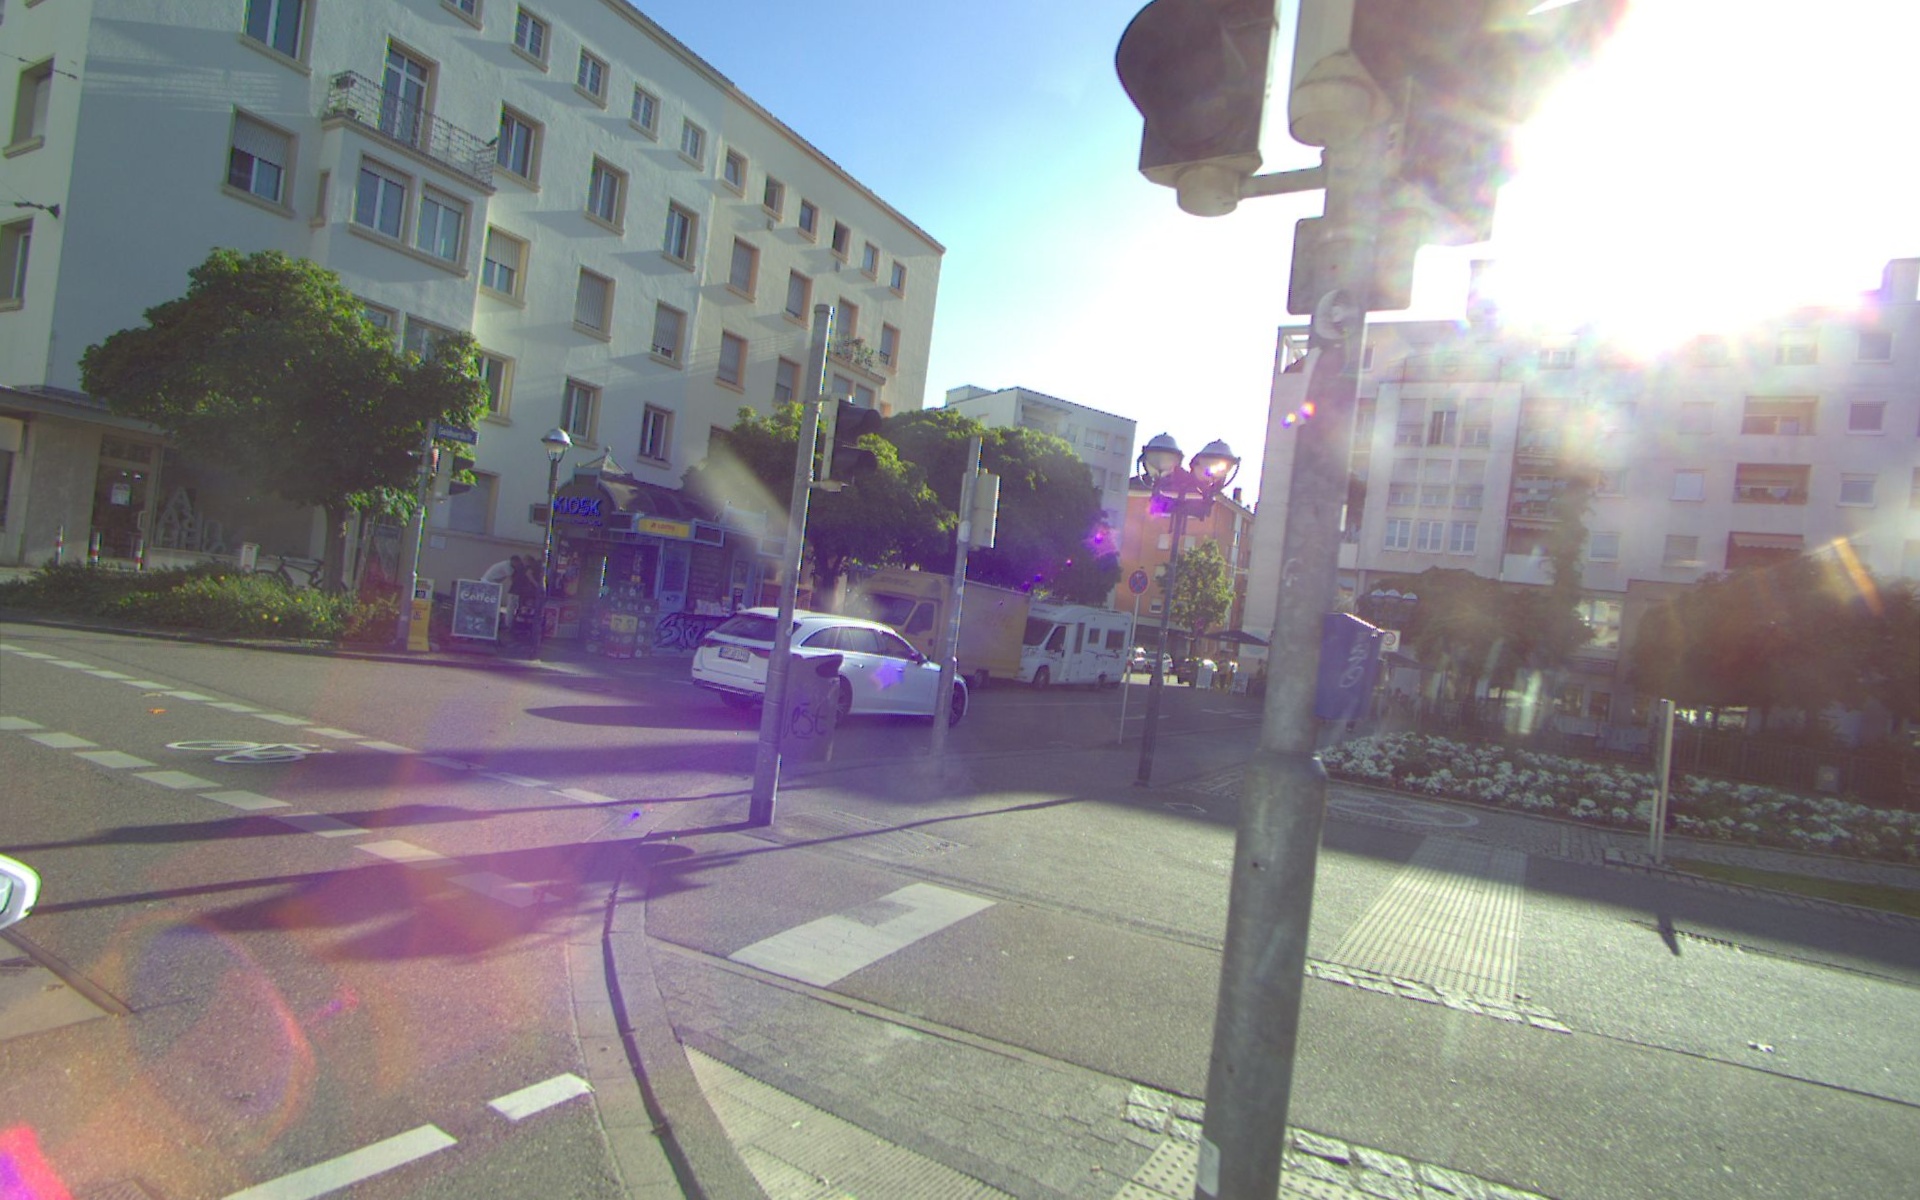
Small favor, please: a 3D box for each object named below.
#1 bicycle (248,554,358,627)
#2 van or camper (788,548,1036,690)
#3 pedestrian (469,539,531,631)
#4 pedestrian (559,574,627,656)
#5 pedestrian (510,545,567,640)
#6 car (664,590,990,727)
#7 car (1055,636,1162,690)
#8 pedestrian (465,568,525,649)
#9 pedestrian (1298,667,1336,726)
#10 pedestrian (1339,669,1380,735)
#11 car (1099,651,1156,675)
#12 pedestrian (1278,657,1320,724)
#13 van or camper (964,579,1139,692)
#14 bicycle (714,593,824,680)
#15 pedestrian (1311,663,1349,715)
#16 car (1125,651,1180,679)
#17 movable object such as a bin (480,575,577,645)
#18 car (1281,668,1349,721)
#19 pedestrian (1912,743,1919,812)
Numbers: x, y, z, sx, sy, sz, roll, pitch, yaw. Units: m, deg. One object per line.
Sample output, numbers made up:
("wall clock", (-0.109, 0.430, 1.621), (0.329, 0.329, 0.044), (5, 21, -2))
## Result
("bicycle", (-12.073, -0.153, 18.516), (0.296, 1.133, 1.566), (6, -2, 42))
("van or camper", (-0.909, 0.643, 25.425), (2.331, 2.780, 7.133), (9, 0, 32))
("pedestrian", (-9.927, -0.322, 21.721), (0.667, 1.861, 0.785), (7, 0, 34))
("pedestrian", (-7.121, 0.293, 19.527), (0.742, 1.427, 0.731), (10, 1, 31))
("pedestrian", (-8.765, -0.152, 20.911), (0.649, 1.861, 0.654), (7, 0, 34))
("car", (-1.722, 0.956, 14.782), (1.959, 1.481, 4.807), (7, -2, 34))
("car", (5.592, 2.389, 37.585), (1.973, 1.529, 3.983), (6, -3, 43))
("pedestrian", (-8.311, 0.149, 17.986), (0.736, 1.332, 0.622), (7, 0, -36))
("pedestrian", (10.309, 2.799, 29.065), (0.651, 1.604, 0.902), (7, 0, 35))
("pedestrian", (10.416, 2.651, 26.228), (0.651, 1.605, 0.902), (7, 0, 35))
("car", (10.737, 4.034, 64.363), (1.798, 1.165, 3.987), (6, -2, 38))
("pedestrian", (9.205, 2.454, 27.290), (0.684, 1.705, 0.902), (7, 0, 35))
("van or camper", (3.035, 1.223, 31.556), (2.340, 2.873, 6.411), (7, -1, 35))
("bicycle", (-3.974, 0.810, 21.180), (0.714, 1.548, 2.391), (7, -3, 30))
("pedestrian", (9.879, 2.373, 26.843), (0.595, 1.295, 0.902), (7, -1, 35))
("car", (13.280, 4.481, 69.226), (1.970, 1.514, 3.987), (6, -2, 38))
("movable object such as a bin", (-8.536, 0.205, 19.925), (1.197, 1.167, 1.200), (7, -1, 32))
("car", (12.713, 3.333, 35.888), (1.963, 1.503, 4.001), (7, -1, 22))
("pedestrian", (22.310, 4.006, 22.660), (0.661, 1.745, 1.028), (7, 0, 11))
